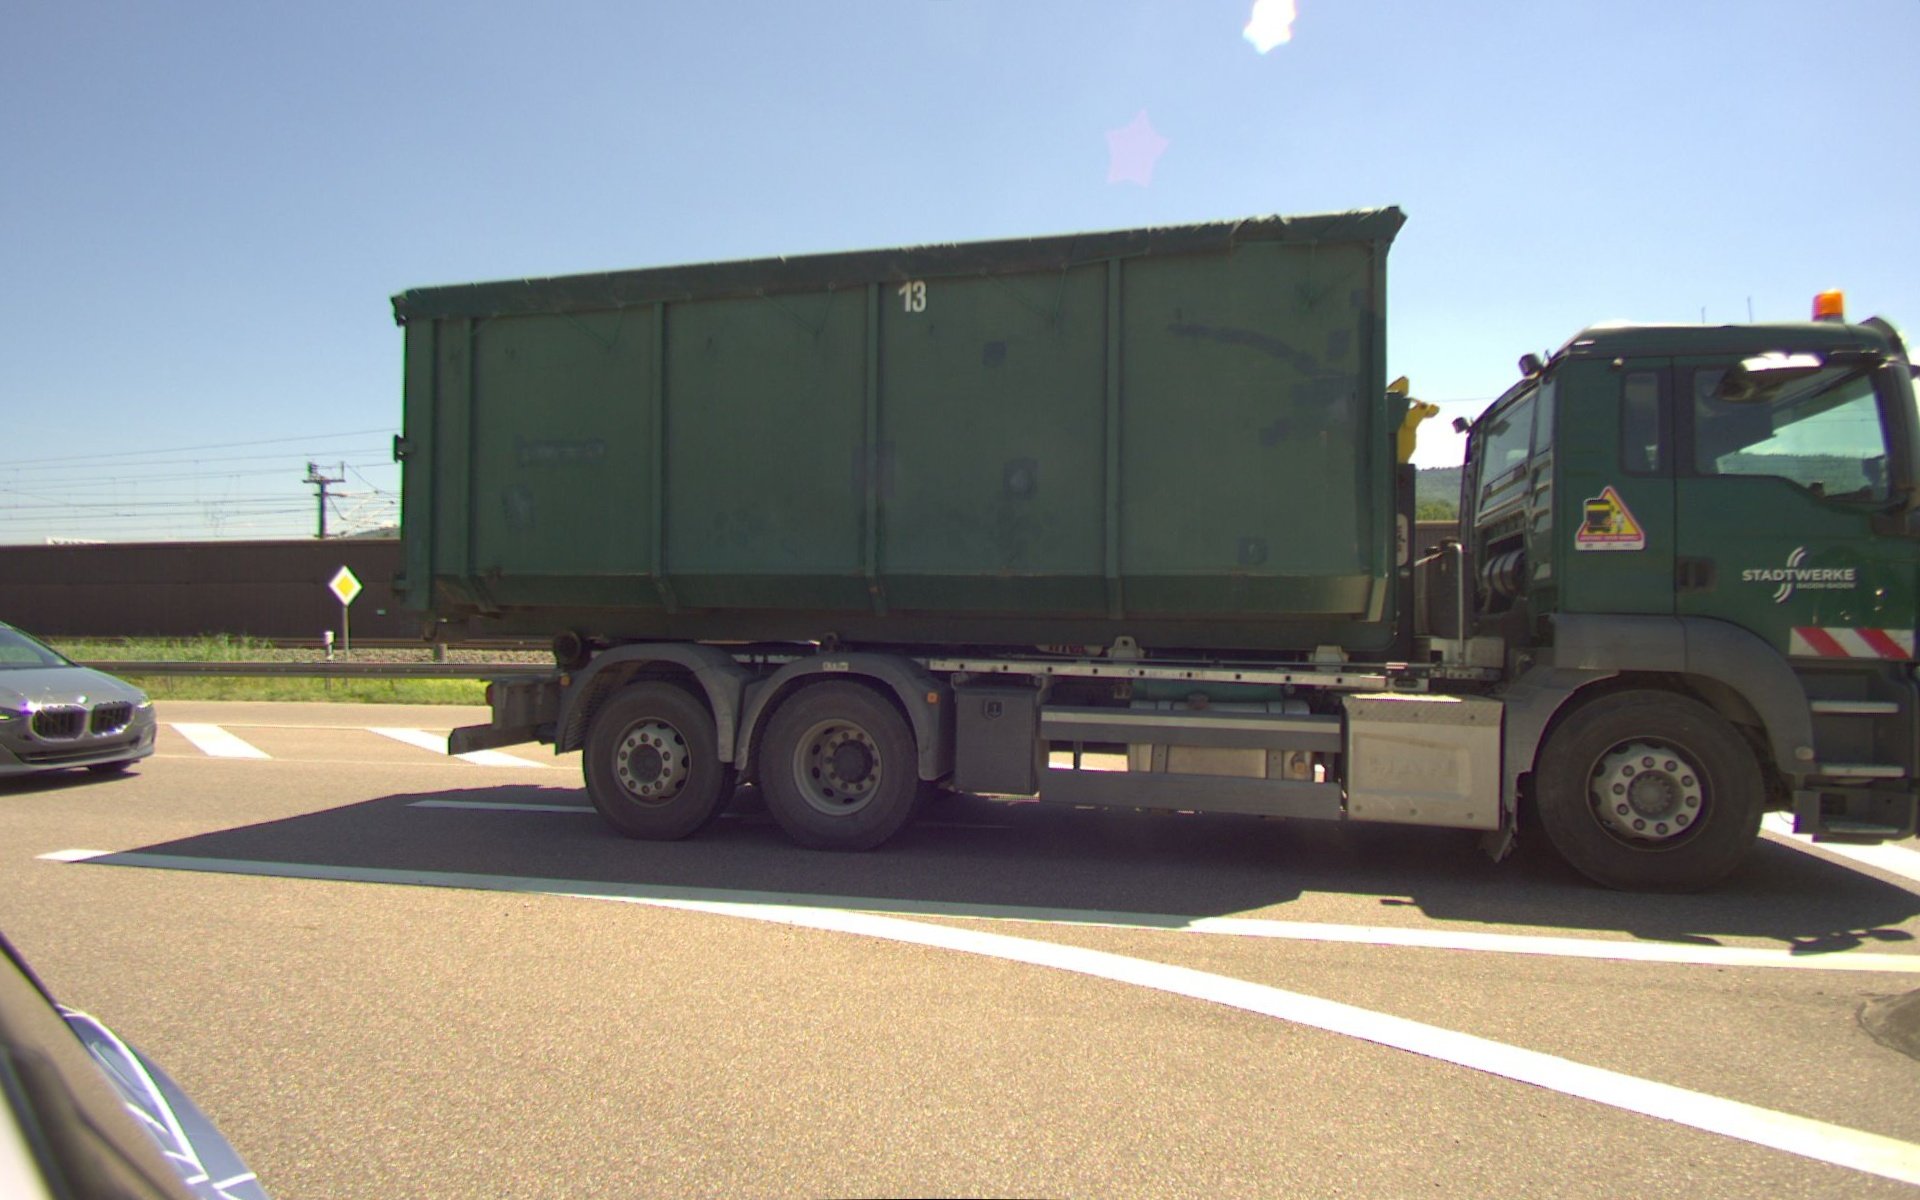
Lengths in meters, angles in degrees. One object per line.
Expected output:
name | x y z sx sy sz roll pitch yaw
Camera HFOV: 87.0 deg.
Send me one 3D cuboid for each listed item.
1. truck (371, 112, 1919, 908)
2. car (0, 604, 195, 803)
truck | 0.830 -0.351 7.073 9.482 3.766 2.586 -1 -2 14
car | -9.787 0.885 9.567 4.184 1.635 1.843 0 -2 14
